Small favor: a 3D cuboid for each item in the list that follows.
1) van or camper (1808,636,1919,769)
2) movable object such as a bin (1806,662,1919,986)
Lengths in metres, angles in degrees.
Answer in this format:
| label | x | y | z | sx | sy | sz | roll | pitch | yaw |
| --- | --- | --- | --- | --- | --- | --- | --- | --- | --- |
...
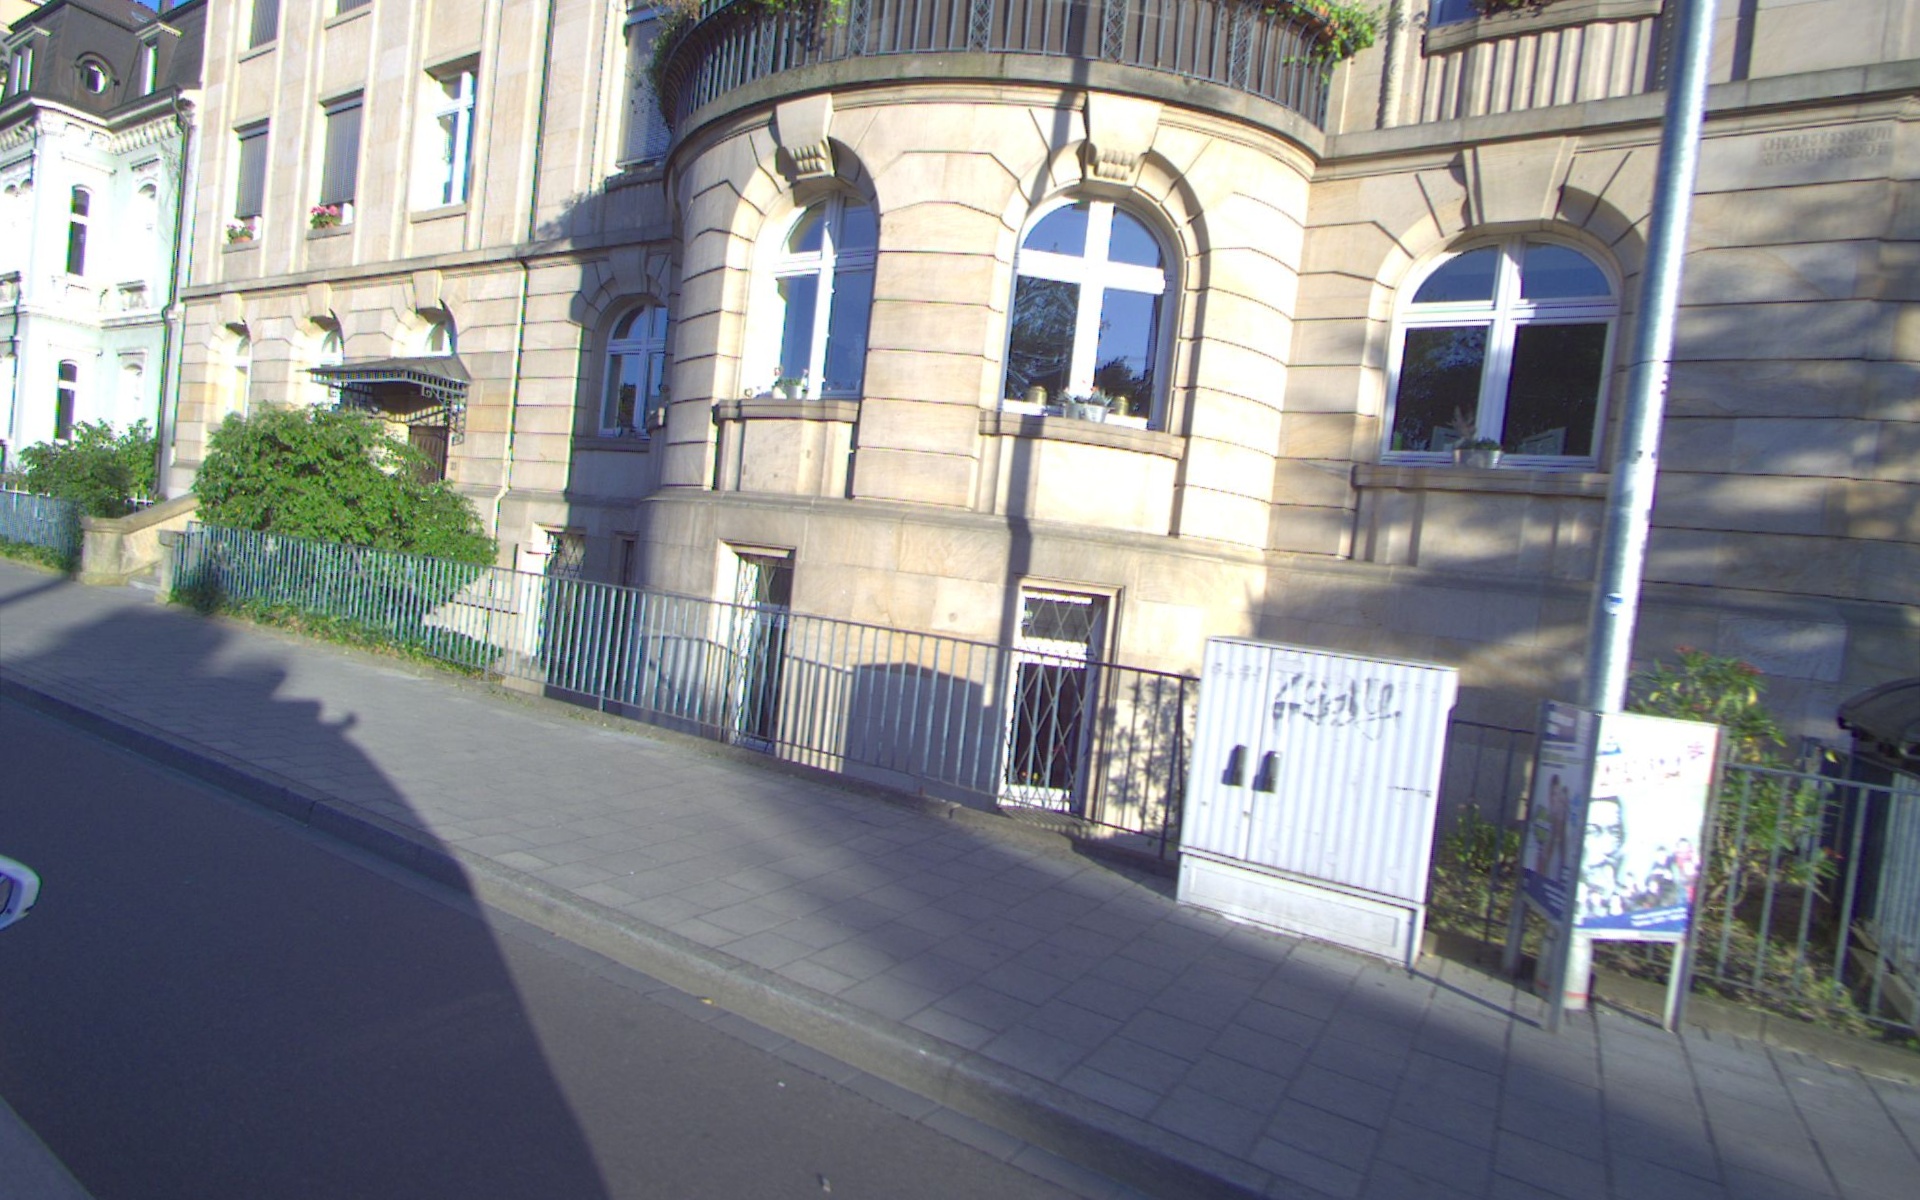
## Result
| label | x | y | z | sx | sy | sz | roll | pitch | yaw |
| --- | --- | --- | --- | --- | --- | --- | --- | --- | --- |
| van or camper | 25.795 | 2.842 | 27.702 | 2.373 | 3.204 | 6.211 | 8 | 1 | 31 |
| movable object such as a bin | 5.138 | 1.117 | 4.943 | 1.104 | 1.480 | 1.262 | 8 | 1 | 28 |
